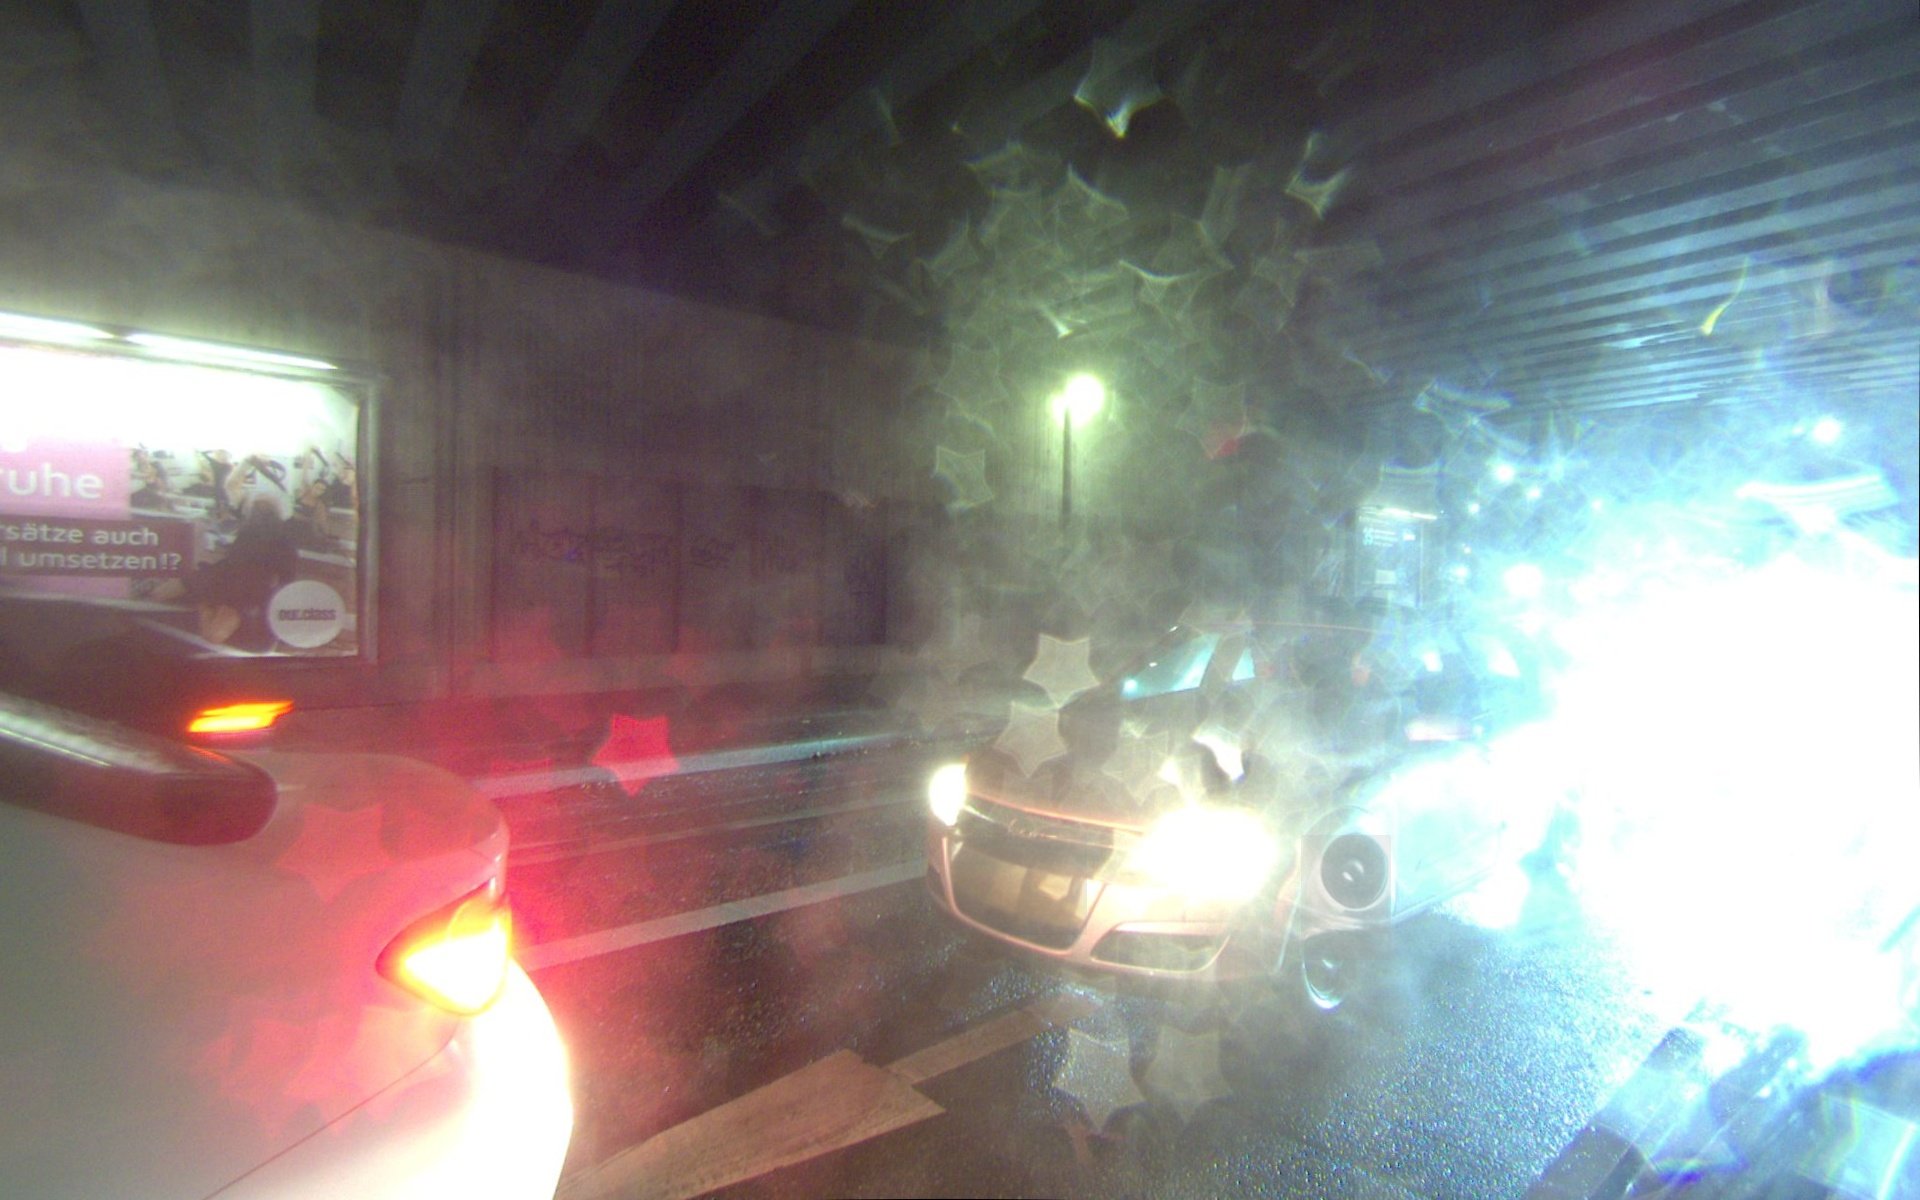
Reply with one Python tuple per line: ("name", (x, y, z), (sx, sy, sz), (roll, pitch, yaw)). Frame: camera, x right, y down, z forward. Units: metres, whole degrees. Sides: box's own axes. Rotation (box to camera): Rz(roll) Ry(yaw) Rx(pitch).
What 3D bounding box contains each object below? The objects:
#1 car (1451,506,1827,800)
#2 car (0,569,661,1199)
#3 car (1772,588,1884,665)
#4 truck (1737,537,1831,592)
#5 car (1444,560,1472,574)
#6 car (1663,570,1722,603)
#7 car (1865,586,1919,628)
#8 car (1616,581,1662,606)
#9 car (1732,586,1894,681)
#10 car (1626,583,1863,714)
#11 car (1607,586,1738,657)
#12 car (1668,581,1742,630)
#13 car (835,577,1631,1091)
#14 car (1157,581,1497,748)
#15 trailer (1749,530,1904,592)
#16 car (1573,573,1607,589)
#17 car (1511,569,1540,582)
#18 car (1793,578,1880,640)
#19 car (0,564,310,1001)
("car", (6.492, 0.358, 9.477), (4.274, 2.115, 1.996), (-1, 0, -43))
("car", (-2.679, 0.685, 0.987), (4.273, 1.422, 1.719), (-1, 0, -41))
("car", (18.738, 0.493, 21.794), (1.678, 1.490, 3.938), (0, 0, 43))
("truck", (66.905, -2.825, 82.385), (3.918, 4.229, 6.338), (0, 0, 19))
("car", (67.823, -4.427, 137.792), (1.938, 1.763, 4.907), (0, 0, 8))
("car", (34.162, -0.655, 47.293), (1.839, 1.449, 4.453), (0, 2, 31))
("car", (36.146, 0.262, 38.484), (1.841, 1.503, 4.432), (2, 1, 33))
("car", (41.377, -0.403, 61.719), (1.865, 1.490, 3.961), (0, 0, 28))
("car", (15.354, 0.512, 18.149), (3.930, 1.522, 1.628), (-1, 0, -41))
("car", (10.758, 0.547, 13.799), (3.701, 1.531, 1.867), (-1, 0, -41))
("car", (16.689, 0.442, 23.611), (1.848, 1.474, 4.431), (1, 1, 44))
("car", (24.963, 0.139, 33.840), (1.844, 1.449, 4.440), (0, 2, 38))
("car", (1.548, 0.621, 4.822), (3.931, 1.384, 1.791), (-2, 2, -41))
("car", (4.343, 0.596, 11.547), (4.553, 1.503, 1.849), (1, 1, -44))
("trailer", (64.916, -2.759, 76.462), (3.918, 4.229, 13.837), (0, 0, 18))
("car", (58.287, -1.725, 93.729), (1.859, 1.490, 3.974), (0, 0, 20))
("car", (64.654, -2.794, 115.827), (1.854, 1.490, 3.983), (0, 0, 14))
("car", (24.574, 0.210, 28.349), (1.737, 1.610, 3.939), (0, 0, 42))
("car", (-4.891, 0.638, 3.159), (1.838, 1.497, 4.554), (0, 1, 45))
